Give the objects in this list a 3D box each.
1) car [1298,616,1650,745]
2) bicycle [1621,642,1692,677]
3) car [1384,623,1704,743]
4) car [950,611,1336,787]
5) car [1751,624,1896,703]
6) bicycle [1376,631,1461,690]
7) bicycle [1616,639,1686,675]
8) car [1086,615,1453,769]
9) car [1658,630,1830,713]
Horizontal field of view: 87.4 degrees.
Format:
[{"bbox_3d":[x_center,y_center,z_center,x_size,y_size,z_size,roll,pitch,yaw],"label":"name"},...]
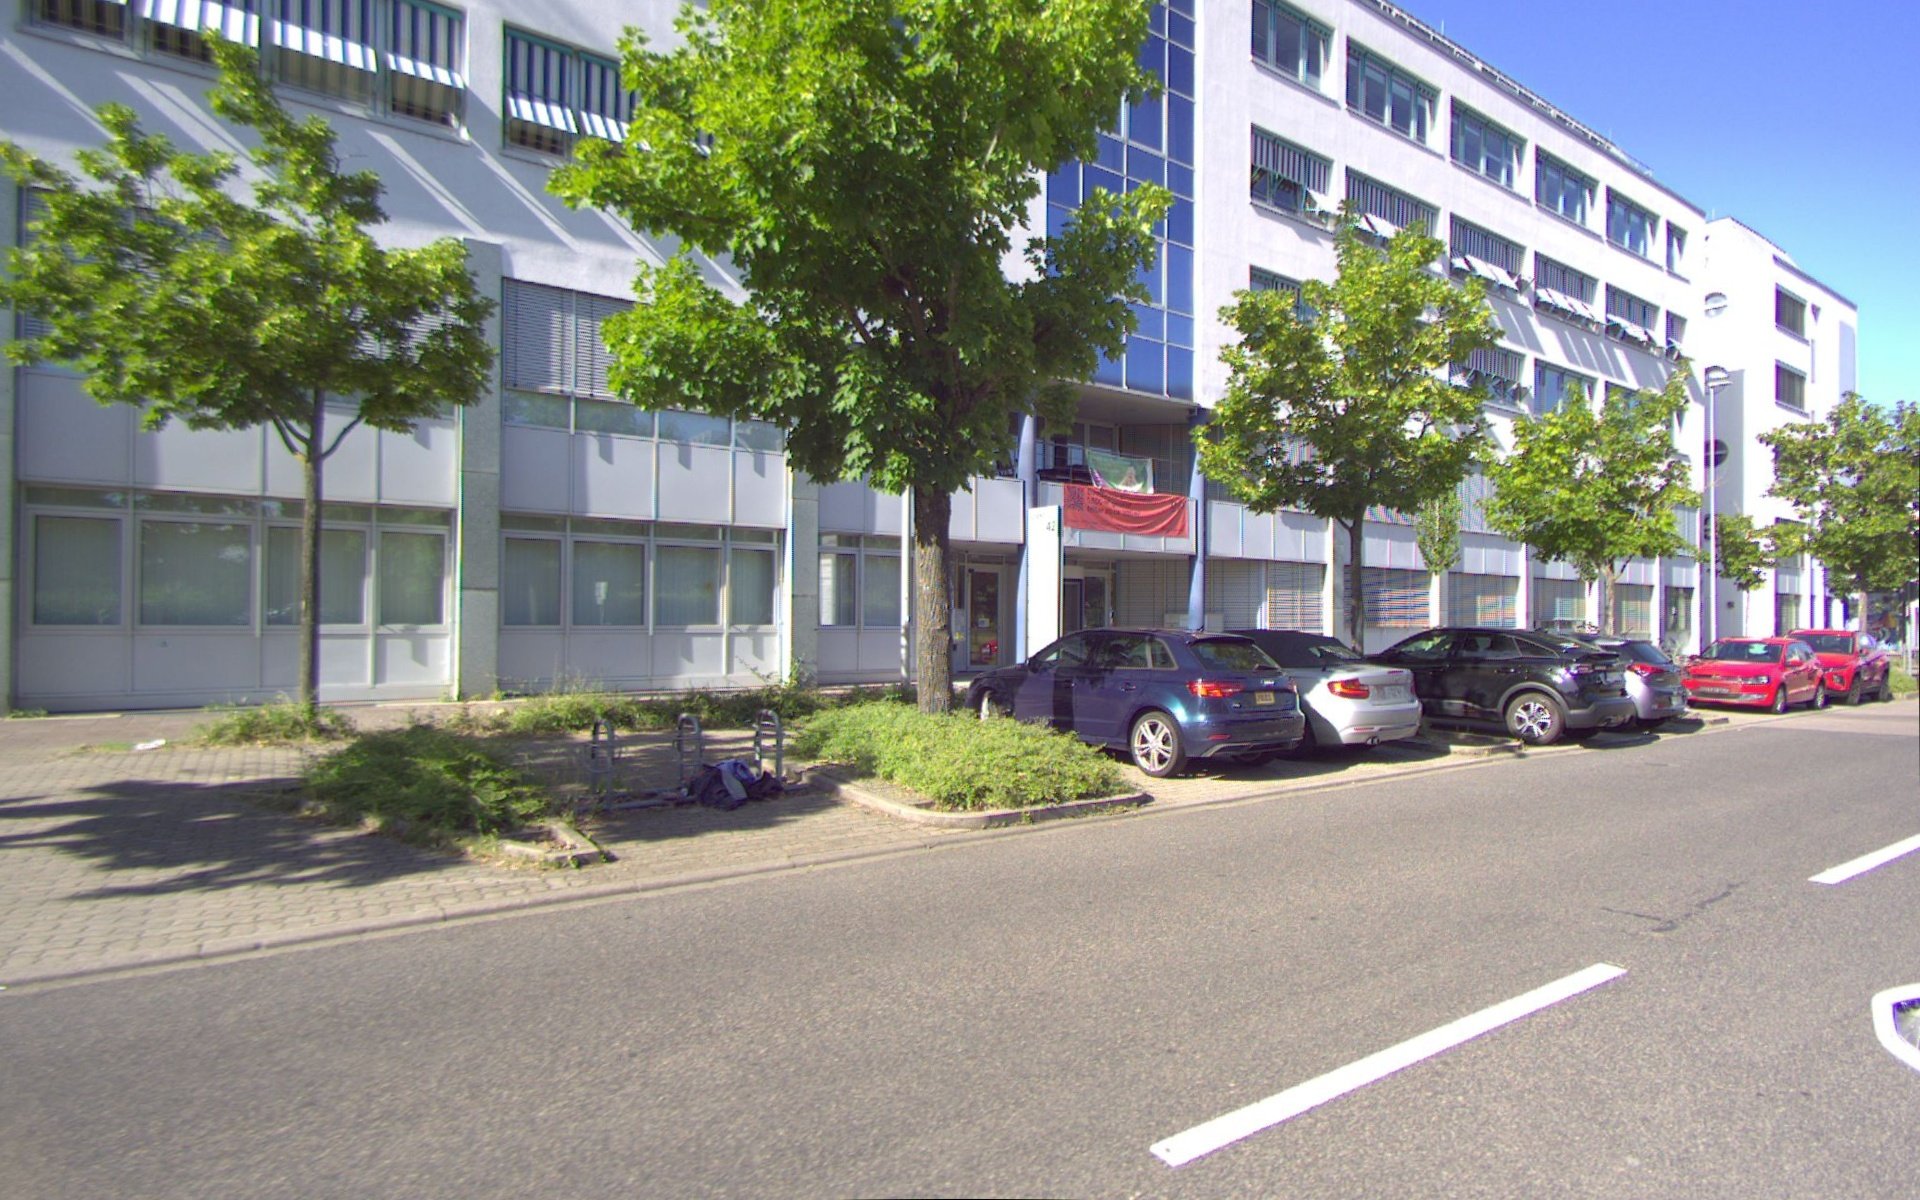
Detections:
[{"bbox_3d":[7.428,1.062,14.948,1.678,1.451,4.353,2,1,-37],"label":"car"},{"bbox_3d":[22.158,1.889,32.008,0.613,1.083,1.782,1,-2,-26],"label":"bicycle"},{"bbox_3d":[9.691,1.278,16.986,1.679,1.558,4.350,2,1,-38],"label":"car"},{"bbox_3d":[1.841,0.944,11.443,1.677,1.451,4.355,2,1,-36],"label":"car"},{"bbox_3d":[20.267,1.436,23.516,4.271,1.628,1.676,2,1,-37],"label":"car"},{"bbox_3d":[11.014,1.439,24.095,2.205,1.365,0.706,2,-2,-30],"label":"bicycle"},{"bbox_3d":[21.612,1.770,31.462,0.548,1.083,1.761,1,-2,-26],"label":"bicycle"},{"bbox_3d":[3.736,1.017,12.891,1.677,1.451,4.355,2,1,-36],"label":"car"},{"bbox_3d":[15.998,1.400,20.465,3.833,1.451,1.677,2,1,-35],"label":"car"}]
